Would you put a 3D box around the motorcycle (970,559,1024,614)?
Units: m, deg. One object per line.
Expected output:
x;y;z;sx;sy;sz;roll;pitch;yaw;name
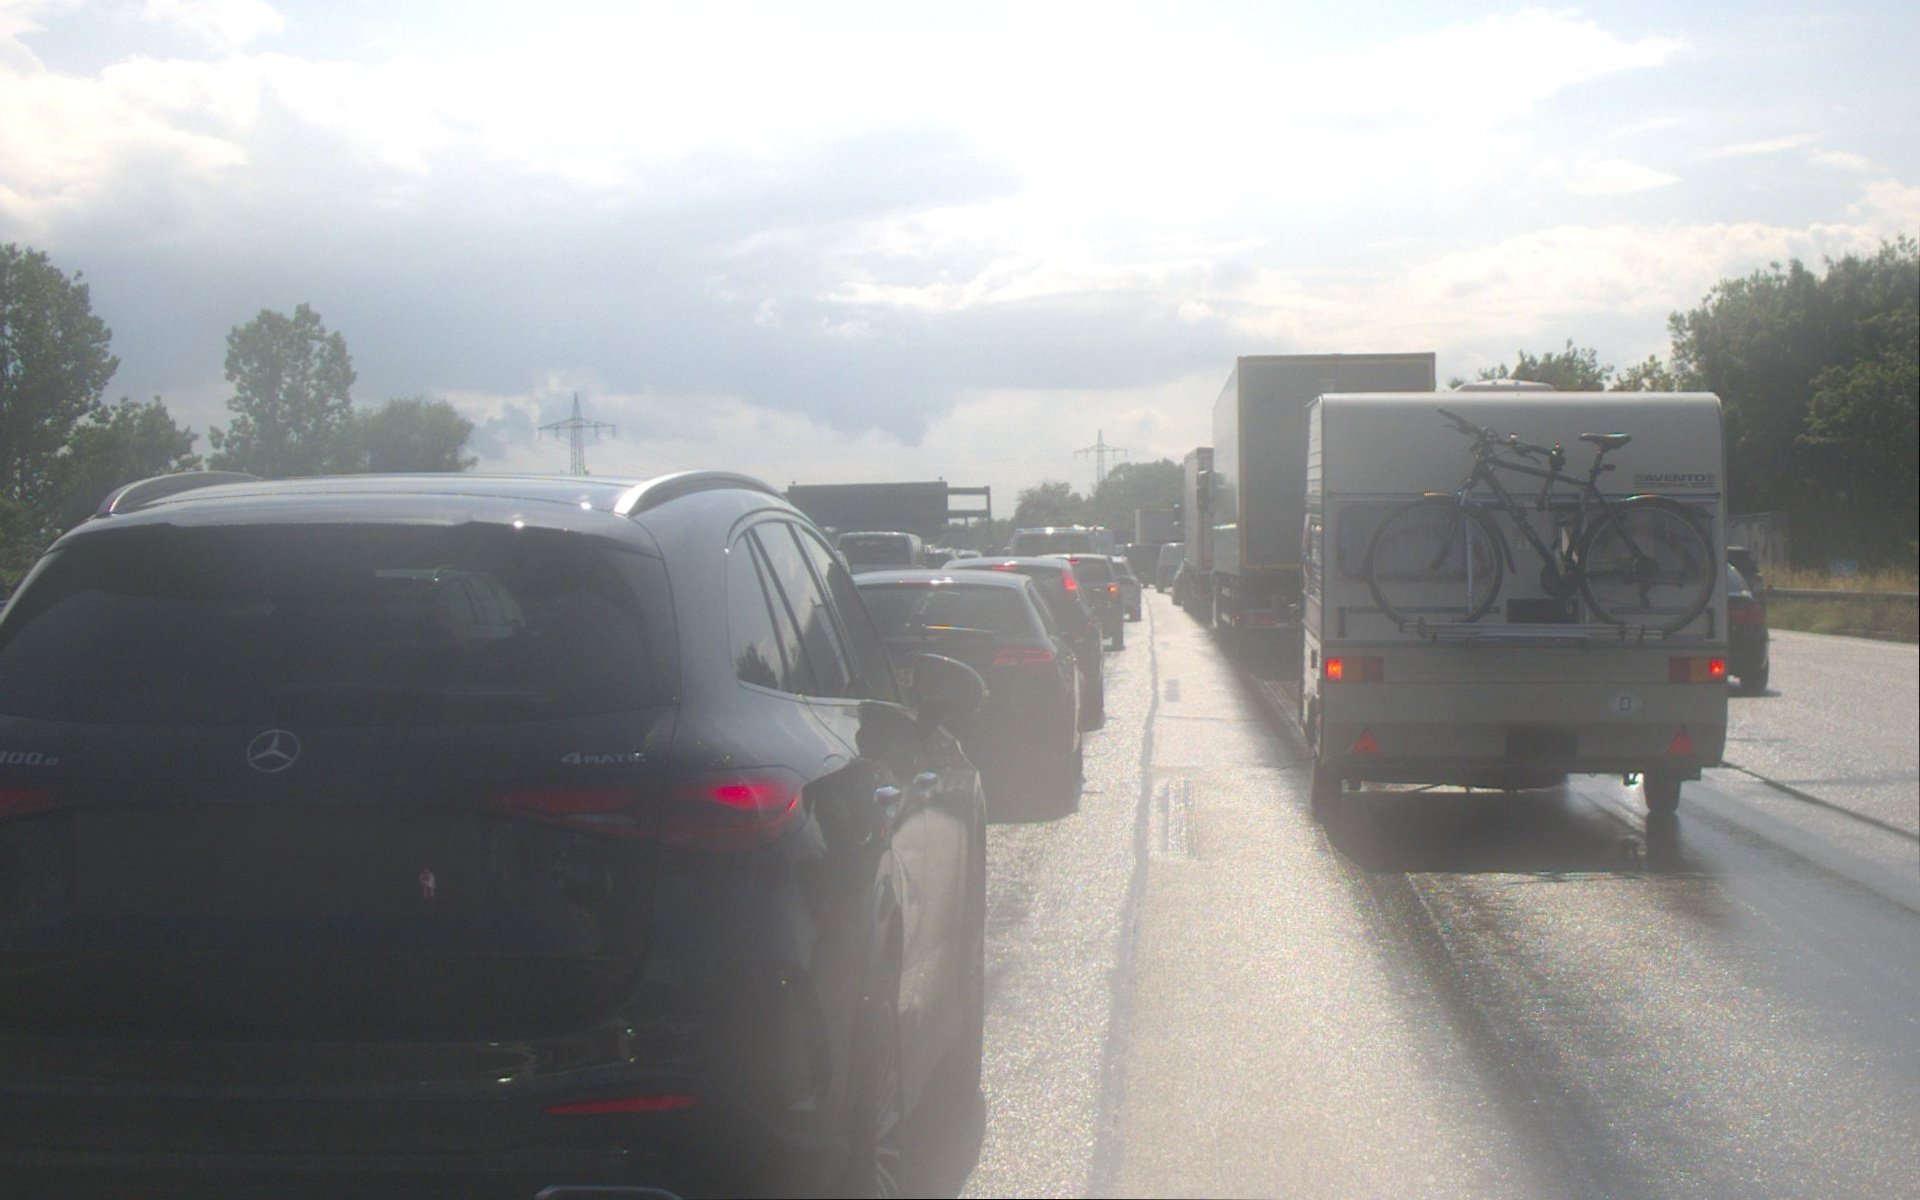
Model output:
0.871;-0.328;79.969;1.074;1.267;2.690;0;1;4;motorcycle

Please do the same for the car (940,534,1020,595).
0.599;-1.029;99.535;1.994;1.610;4.000;4;1;4;car

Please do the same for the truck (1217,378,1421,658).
5.582;-1.260;53.782;2.996;4.152;5.239;0;1;5;truck

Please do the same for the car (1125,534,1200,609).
5.824;-0.831;98.619;1.994;2.007;4.000;4;1;4;car

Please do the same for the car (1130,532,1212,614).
5.440;-0.712;88.431;1.994;2.007;4.000;2;1;4;car

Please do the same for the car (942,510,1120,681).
0.935;-0.087;42.817;1.994;2.007;4.000;1;1;4;car

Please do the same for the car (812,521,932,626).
-1.800;-0.557;71.646;1.994;2.007;4.000;4;1;4;car

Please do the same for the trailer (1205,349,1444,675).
5.066;-1.185;48.267;3.007;4.152;8.534;0;1;5;trailer

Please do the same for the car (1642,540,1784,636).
13.151;-0.243;60.223;1.788;1.607;4.384;0;1;4;car

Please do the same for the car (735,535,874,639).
-2.737;-0.248;61.323;1.994;1.766;4.000;1;1;4;car

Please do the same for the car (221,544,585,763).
-4.076;0.338;25.822;1.757;1.511;4.208;0;1;4;car

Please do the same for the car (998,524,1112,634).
1.845;-0.423;65.647;1.994;2.007;4.000;1;1;4;car

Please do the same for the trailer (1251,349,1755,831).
3.082;-0.090;21.069;2.374;2.475;6.522;1;1;3;trailer

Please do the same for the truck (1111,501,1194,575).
10.770;-3.451;193.595;3.843;4.003;11.222;1;1;-1;truck

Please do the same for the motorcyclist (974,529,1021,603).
0.874;-0.787;79.994;1.064;1.712;0.785;0;0;4;motorcyclist

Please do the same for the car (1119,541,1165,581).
8.143;-1.728;154.146;1.876;1.754;4.000;1;1;1;car

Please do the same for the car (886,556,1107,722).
0.397;0.310;31.419;1.806;1.402;4.000;1;1;4;car

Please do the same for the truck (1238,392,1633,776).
3.308;-0.136;25.148;2.374;2.468;5.755;1;1;3;truck

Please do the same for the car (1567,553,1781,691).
7.771;0.204;37.704;1.740;1.415;3.835;0;1;3;car

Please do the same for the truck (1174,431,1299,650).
6.322;-1.351;79.418;2.502;4.813;7.543;1;1;2;truck

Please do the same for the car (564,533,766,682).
-3.563;0.066;42.236;1.993;1.714;4.000;1;1;2;car

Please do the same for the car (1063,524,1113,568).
5.197;-2.203;140.018;1.876;1.754;4.000;1;1;1;car

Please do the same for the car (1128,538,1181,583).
7.626;-1.553;135.109;1.876;1.754;4.000;1;1;1;car

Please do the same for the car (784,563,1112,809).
0.017;0.471;21.605;1.757;1.382;3.944;0;1;4;car

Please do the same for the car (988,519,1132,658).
1.627;-0.201;54.384;1.994;2.007;4.000;4;1;4;car

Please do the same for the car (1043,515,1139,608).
2.980;-0.880;77.473;1.994;2.007;4.000;-1;1;4;car

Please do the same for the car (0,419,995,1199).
-1.018;0.526;7.581;1.994;1.656;4.405;0;1;3;car
